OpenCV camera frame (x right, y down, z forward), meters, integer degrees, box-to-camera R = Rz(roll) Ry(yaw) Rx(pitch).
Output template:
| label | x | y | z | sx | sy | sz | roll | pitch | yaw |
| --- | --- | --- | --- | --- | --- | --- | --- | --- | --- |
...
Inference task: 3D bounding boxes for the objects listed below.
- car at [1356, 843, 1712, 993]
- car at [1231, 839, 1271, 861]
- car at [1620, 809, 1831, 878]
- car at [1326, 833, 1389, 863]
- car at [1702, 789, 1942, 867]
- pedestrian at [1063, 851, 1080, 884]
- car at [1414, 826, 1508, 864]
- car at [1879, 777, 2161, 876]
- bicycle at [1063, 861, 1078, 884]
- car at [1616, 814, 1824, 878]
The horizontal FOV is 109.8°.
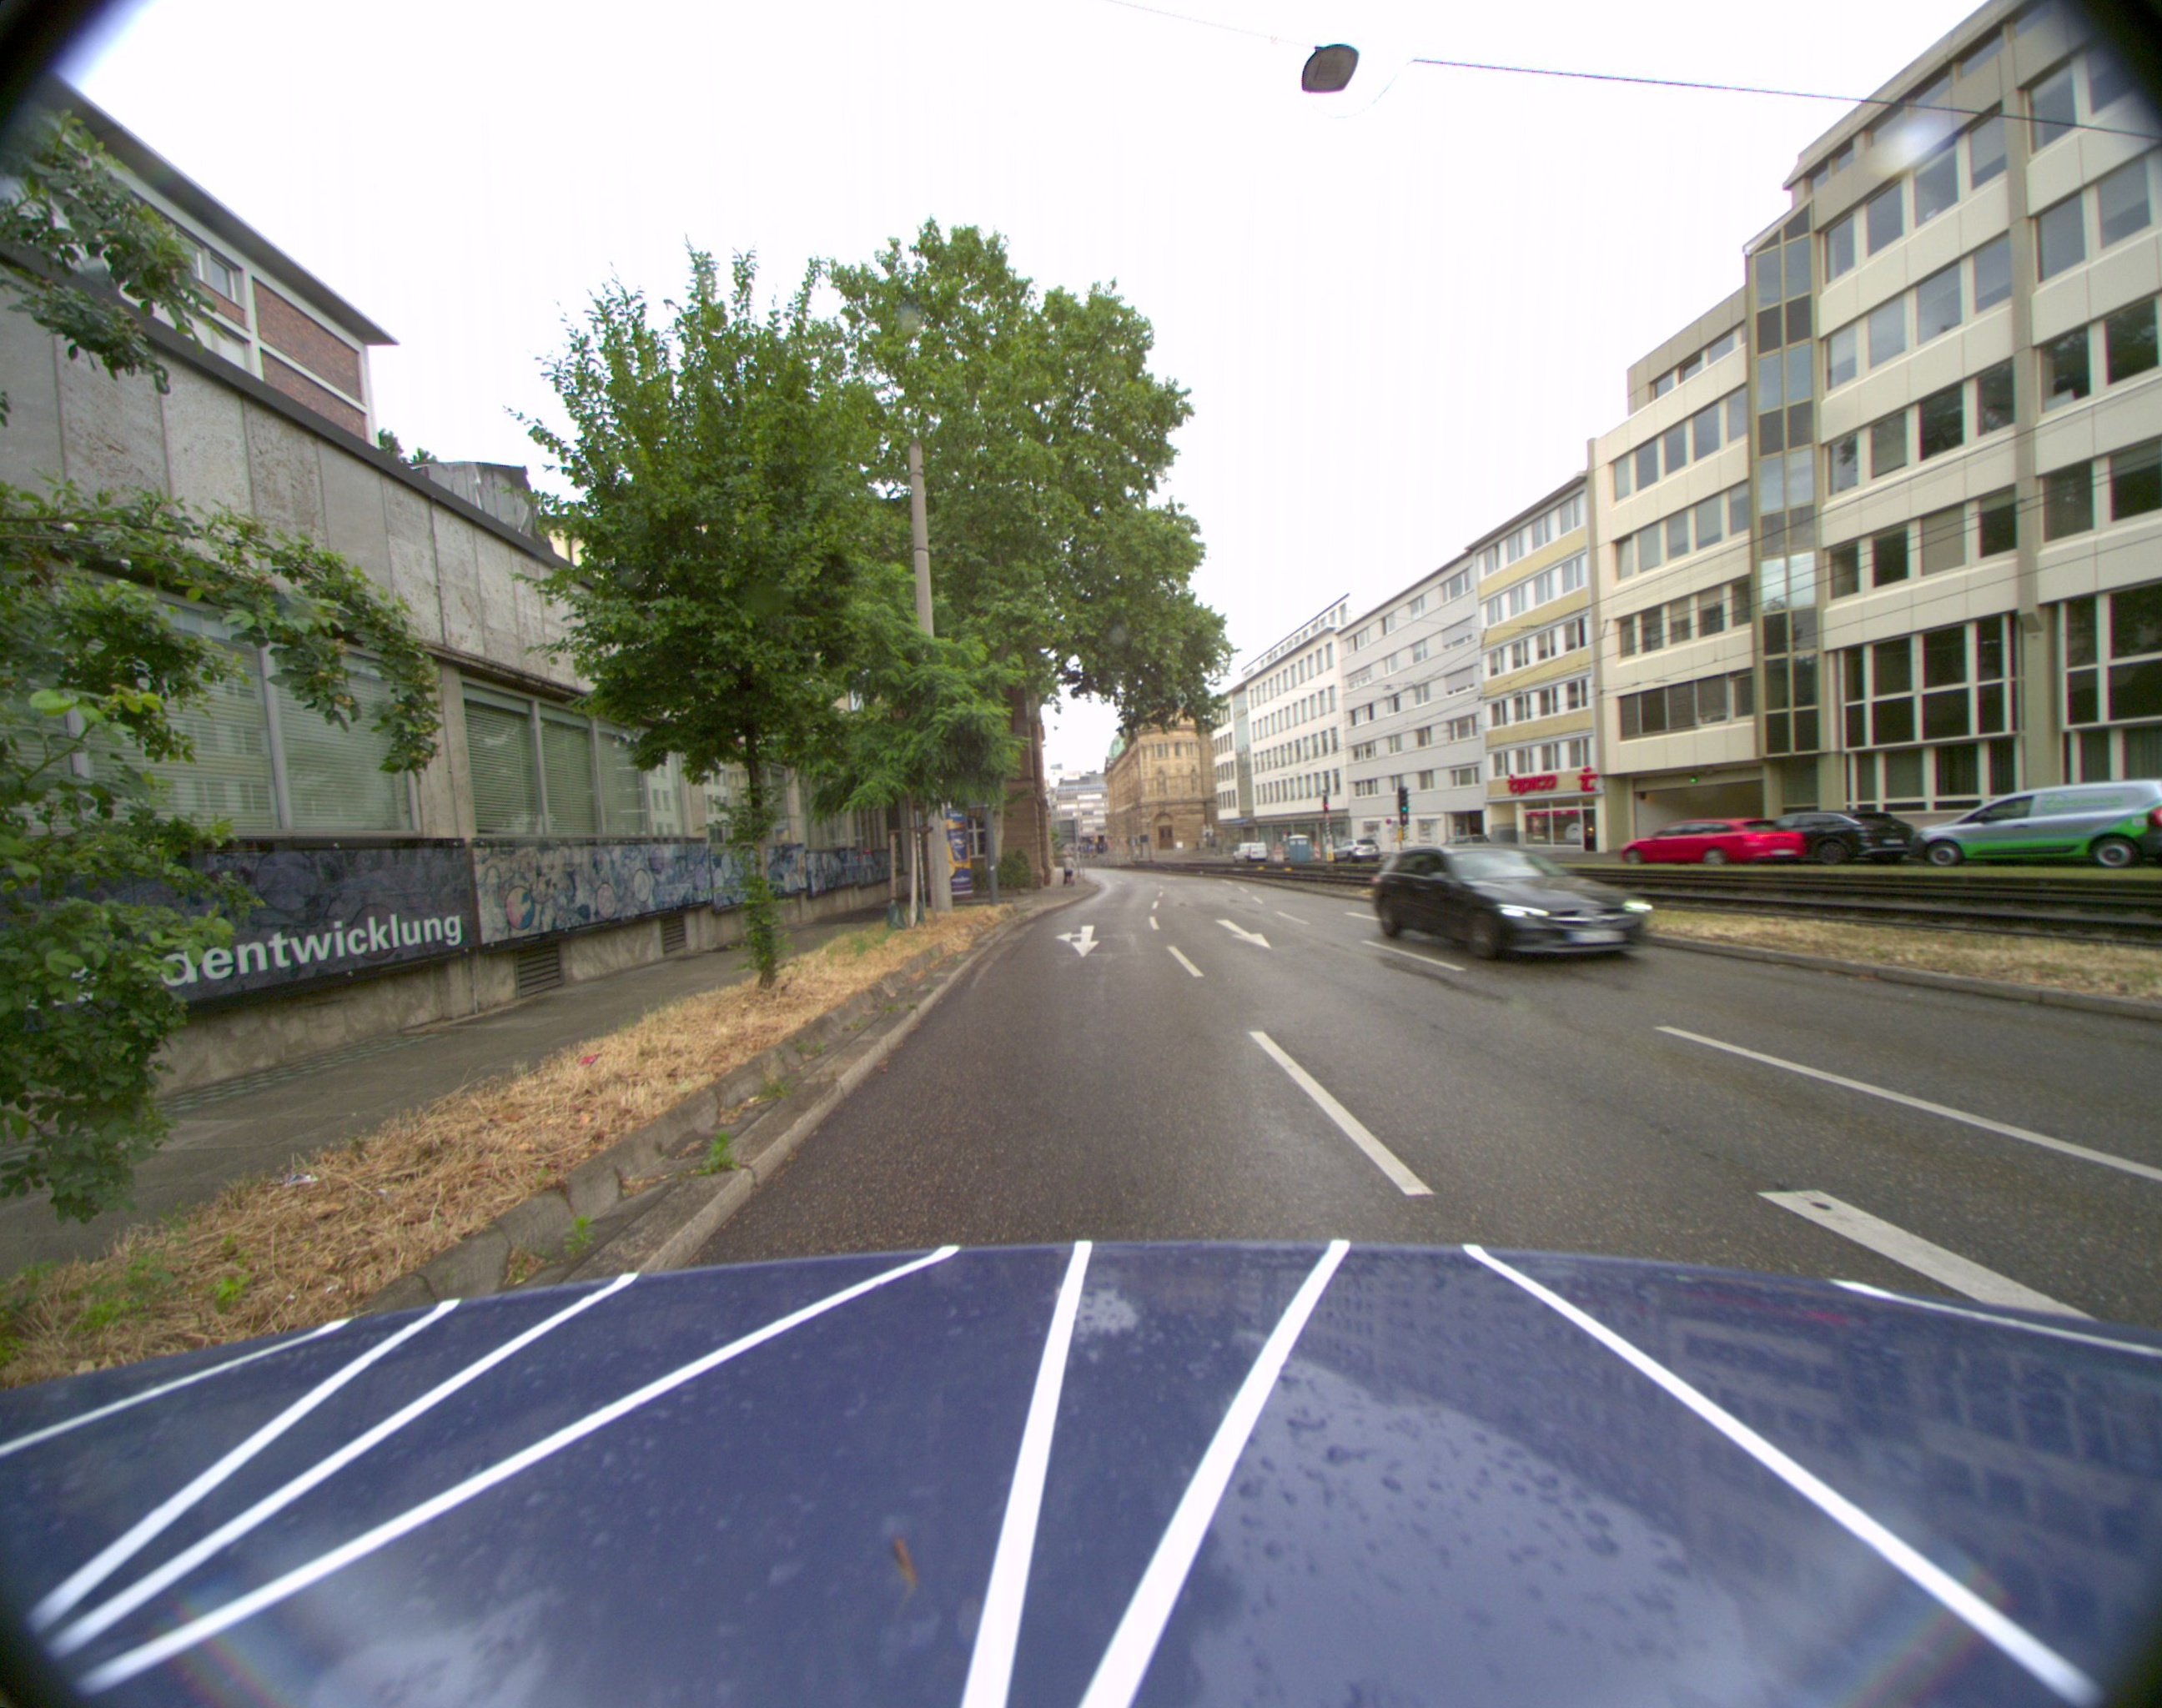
| label | x | y | z | sx | sy | sz | roll | pitch | yaw |
| --- | --- | --- | --- | --- | --- | --- | --- | --- | --- |
| car | 5.754 | 0.698 | 10.541 | 1.999 | 1.458 | 4.642 | -5 | 0 | -1 |
| car | 16.386 | -0.440 | 73.355 | 1.999 | 1.832 | 5.127 | -6 | 2 | -7 |
| car | 18.204 | -0.304 | 21.805 | 1.986 | 1.631 | 4.413 | -5 | 1 | -6 |
| car | 18.331 | -0.362 | 50.625 | 1.999 | 1.664 | 4.694 | -6 | 0 | -4 |
| car | 21.094 | -0.713 | 21.982 | 1.999 | 1.840 | 4.691 | -6 | 2 | -7 |
| pedestrian | -0.504 | 0.715 | 40.638 | 0.719 | 1.732 | 1.020 | -1 | 1 | 11 |
| car | 19.455 | -0.496 | 39.156 | 1.999 | 1.664 | 4.691 | -6 | 2 | -7 |
| car | 21.513 | -0.624 | 17.020 | 1.999 | 1.840 | 4.691 | -6 | 2 | -7 |
| bicycle | -0.569 | 1.034 | 41.677 | 0.620 | 1.213 | 0.911 | -2 | 1 | 12 |
| car | 18.071 | -0.251 | 21.813 | 1.999 | 1.479 | 4.323 | -6 | 2 | -7 |
